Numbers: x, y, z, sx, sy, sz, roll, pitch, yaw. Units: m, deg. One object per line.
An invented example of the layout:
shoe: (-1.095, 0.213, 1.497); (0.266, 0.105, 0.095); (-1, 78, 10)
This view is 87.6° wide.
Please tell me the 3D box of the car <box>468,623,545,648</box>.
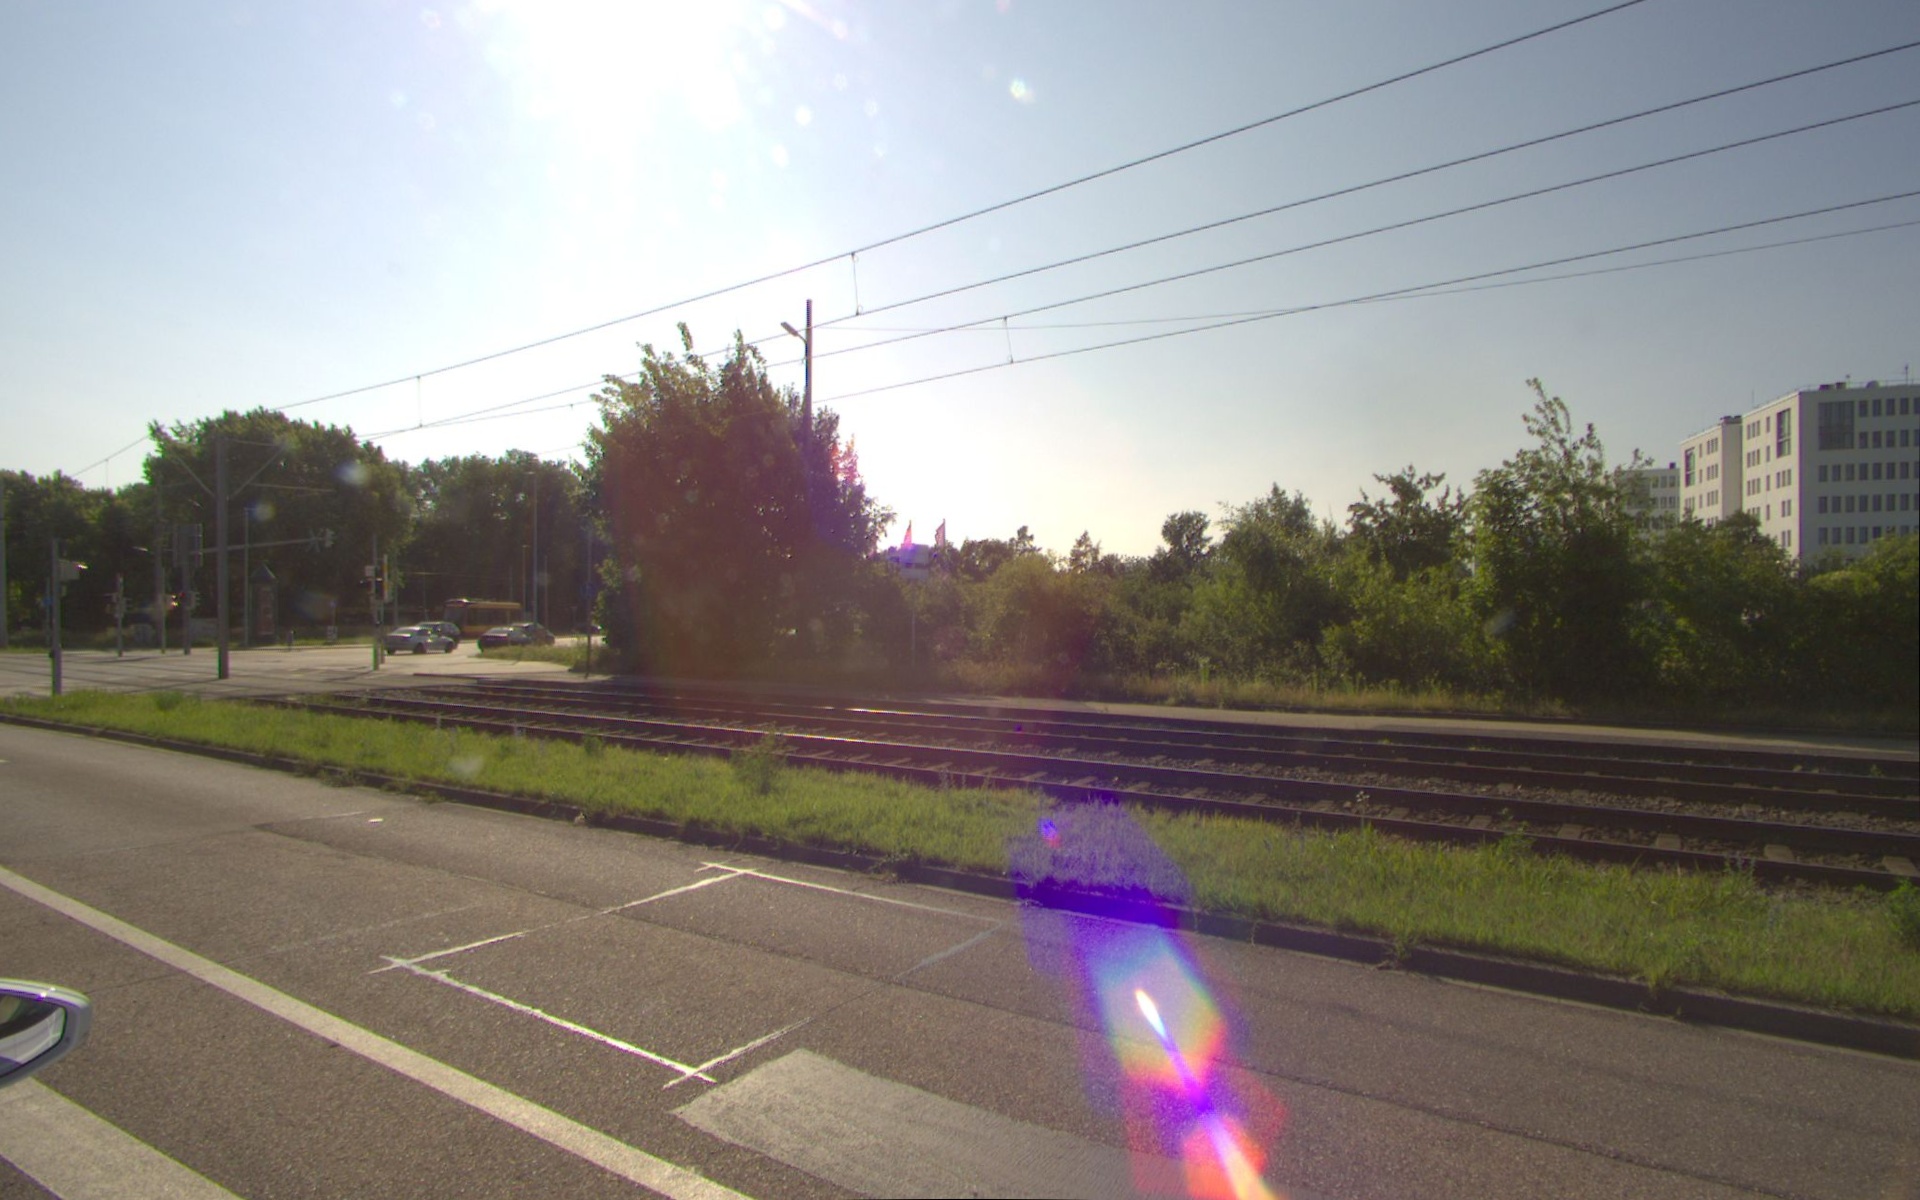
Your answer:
car: (-25.492, 1.980, 56.469); (1.961, 1.371, 4.408); (0, -1, 6)

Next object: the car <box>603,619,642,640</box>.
car: (-27.510, 2.396, 81.767); (1.961, 1.686, 4.633); (0, -1, -6)

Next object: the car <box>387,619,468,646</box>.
car: (-31.886, 1.927, 60.120); (2.005, 1.583, 4.863); (0, -1, 5)

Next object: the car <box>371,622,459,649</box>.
car: (-29.113, 1.858, 53.644); (1.961, 1.371, 4.409); (0, -1, 6)

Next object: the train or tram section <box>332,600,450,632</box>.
train or tram section: (-66.496, 1.884, 117.215); (11.992, 3.626, 3.054); (0, -1, -1)

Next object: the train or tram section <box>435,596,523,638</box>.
train or tram section: (-44.448, 1.570, 93.163); (2.995, 3.626, 11.853); (0, -1, -3)

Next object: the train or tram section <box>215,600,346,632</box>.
train or tram section: (-78.210, 1.861, 115.613); (12.027, 3.626, 3.045); (0, -1, -22)

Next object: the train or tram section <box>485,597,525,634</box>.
train or tram section: (-47.645, 1.628, 104.604); (3.009, 3.626, 12.174); (0, -1, -28)

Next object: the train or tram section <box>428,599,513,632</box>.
train or tram section: (-55.553, 1.746, 113.436); (12.061, 3.626, 3.037); (-1, -1, 34)

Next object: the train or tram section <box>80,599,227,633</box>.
train or tram section: (-88.974, 1.758, 110.799); (12.249, 3.626, 3.041); (0, -1, -27)
